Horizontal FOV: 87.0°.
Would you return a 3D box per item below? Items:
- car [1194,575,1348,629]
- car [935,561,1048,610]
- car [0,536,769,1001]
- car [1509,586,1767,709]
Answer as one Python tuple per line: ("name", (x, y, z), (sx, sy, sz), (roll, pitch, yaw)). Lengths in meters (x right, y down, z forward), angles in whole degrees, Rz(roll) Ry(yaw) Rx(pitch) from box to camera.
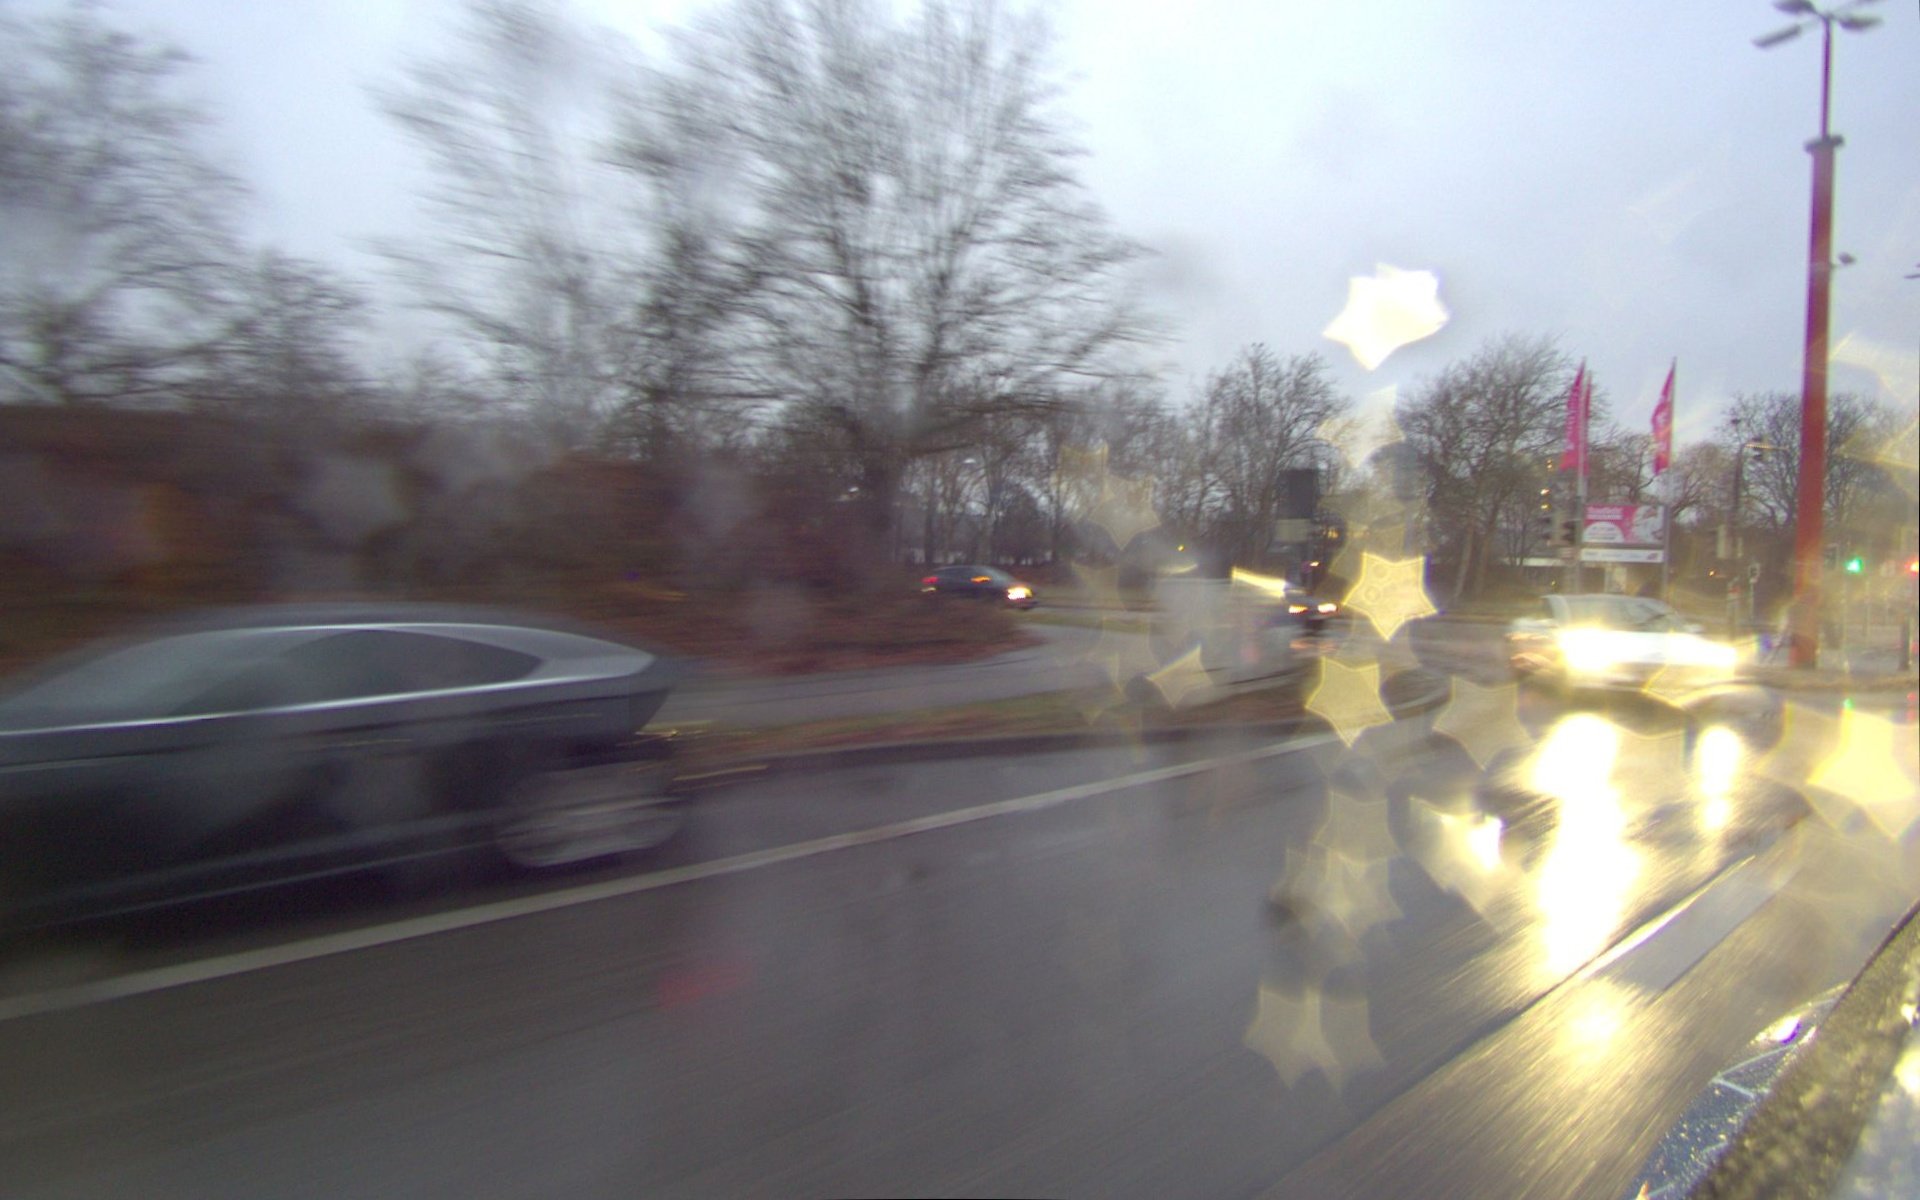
("car", (8.601, 0.009, 28.297), (1.606, 1.325, 4.002), (0, 2, -34))
("car", (1.128, -0.563, 36.939), (3.867, 1.655, 1.636), (2, 2, 36))
("car", (-3.382, 0.544, 4.923), (4.472, 1.639, 1.969), (-1, 3, -44))
("car", (9.591, 0.538, 14.803), (1.858, 1.393, 4.728), (1, 2, 18))
